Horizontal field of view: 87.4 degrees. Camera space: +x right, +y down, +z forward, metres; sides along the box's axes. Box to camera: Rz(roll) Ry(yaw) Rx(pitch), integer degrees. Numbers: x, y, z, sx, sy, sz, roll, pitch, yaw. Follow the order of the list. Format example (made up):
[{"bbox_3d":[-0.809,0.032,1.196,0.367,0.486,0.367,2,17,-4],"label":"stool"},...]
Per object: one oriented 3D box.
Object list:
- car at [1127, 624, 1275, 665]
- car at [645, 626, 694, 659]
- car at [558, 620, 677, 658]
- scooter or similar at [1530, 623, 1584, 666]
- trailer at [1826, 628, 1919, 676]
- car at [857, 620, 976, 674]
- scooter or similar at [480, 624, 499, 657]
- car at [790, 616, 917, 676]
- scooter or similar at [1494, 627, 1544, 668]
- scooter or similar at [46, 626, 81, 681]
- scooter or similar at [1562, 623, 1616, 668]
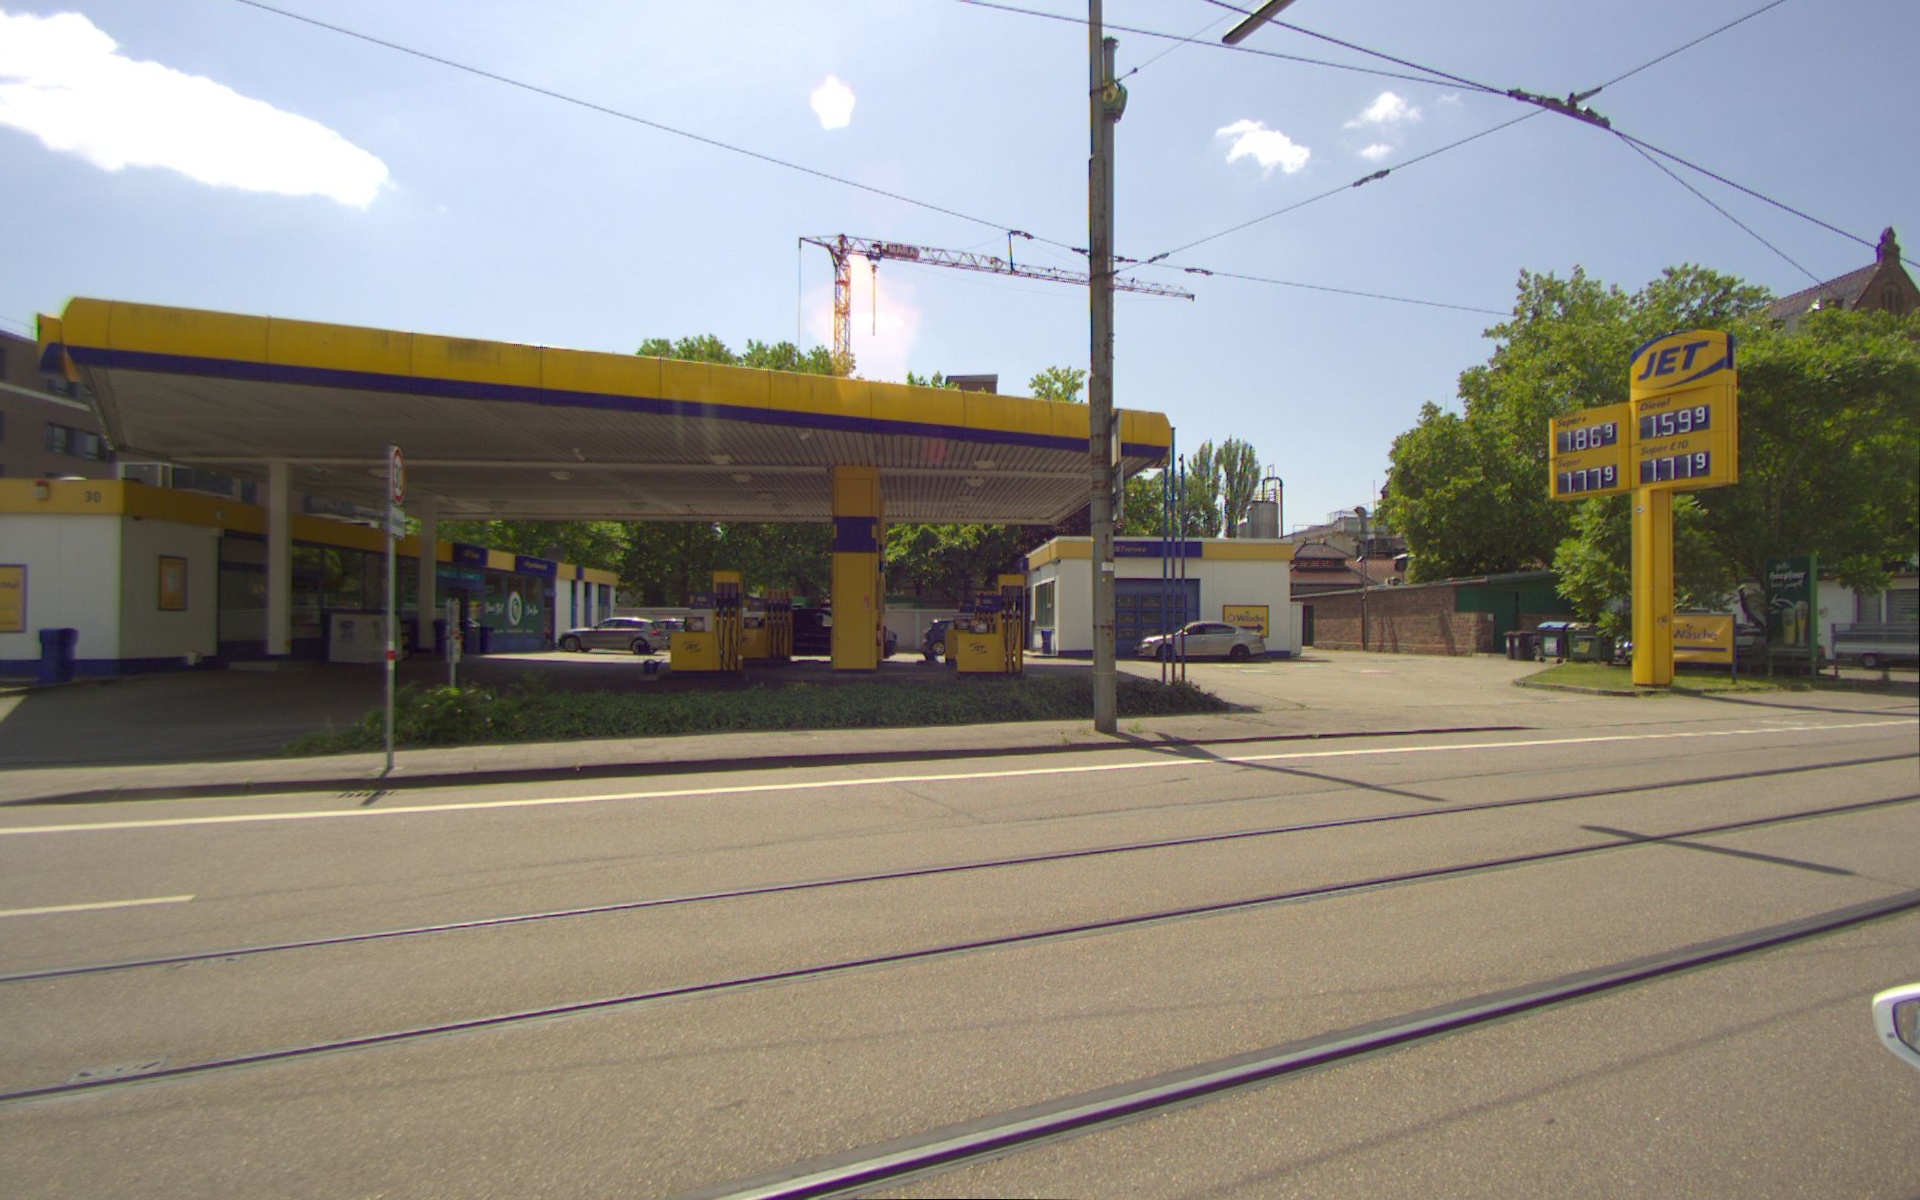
[{"bbox_3d":[8.687,1.609,36.391,4.913,1.383,1.840,1,-2,-4],"label":"car"},{"bbox_3d":[-12.604,1.851,43.661,1.934,1.387,1.019,1,-4,-10],"label":"car"},{"bbox_3d":[-13.484,1.568,39.705,4.147,1.364,1.380,2,-3,-4],"label":"car"},{"bbox_3d":[21.253,1.565,35.766,1.042,1.486,1.314,2,-2,-16],"label":"scooter or similar"},{"bbox_3d":[32.061,1.782,34.876,1.312,1.546,2.718,2,-1,-26],"label":"trailer"},{"bbox_3d":[-1.390,1.524,32.369,3.718,1.660,1.390,1,-3,-3],"label":"car"},{"bbox_3d":[-15.648,1.355,33.421,0.414,1.074,0.440,1,-3,-8],"label":"scooter or similar"},{"bbox_3d":[-3.162,1.414,30.481,3.696,1.725,1.604,1,-4,-2],"label":"car"},{"bbox_3d":[20.971,1.774,37.708,1.042,1.486,1.314,2,-2,-16],"label":"scooter or similar"},{"bbox_3d":[-15.473,0.916,17.341,0.322,0.942,0.404,1,-1,-25],"label":"scooter or similar"},{"bbox_3d":[21.197,1.520,33.866,1.044,1.486,1.170,2,-2,-22],"label":"scooter or similar"}]
